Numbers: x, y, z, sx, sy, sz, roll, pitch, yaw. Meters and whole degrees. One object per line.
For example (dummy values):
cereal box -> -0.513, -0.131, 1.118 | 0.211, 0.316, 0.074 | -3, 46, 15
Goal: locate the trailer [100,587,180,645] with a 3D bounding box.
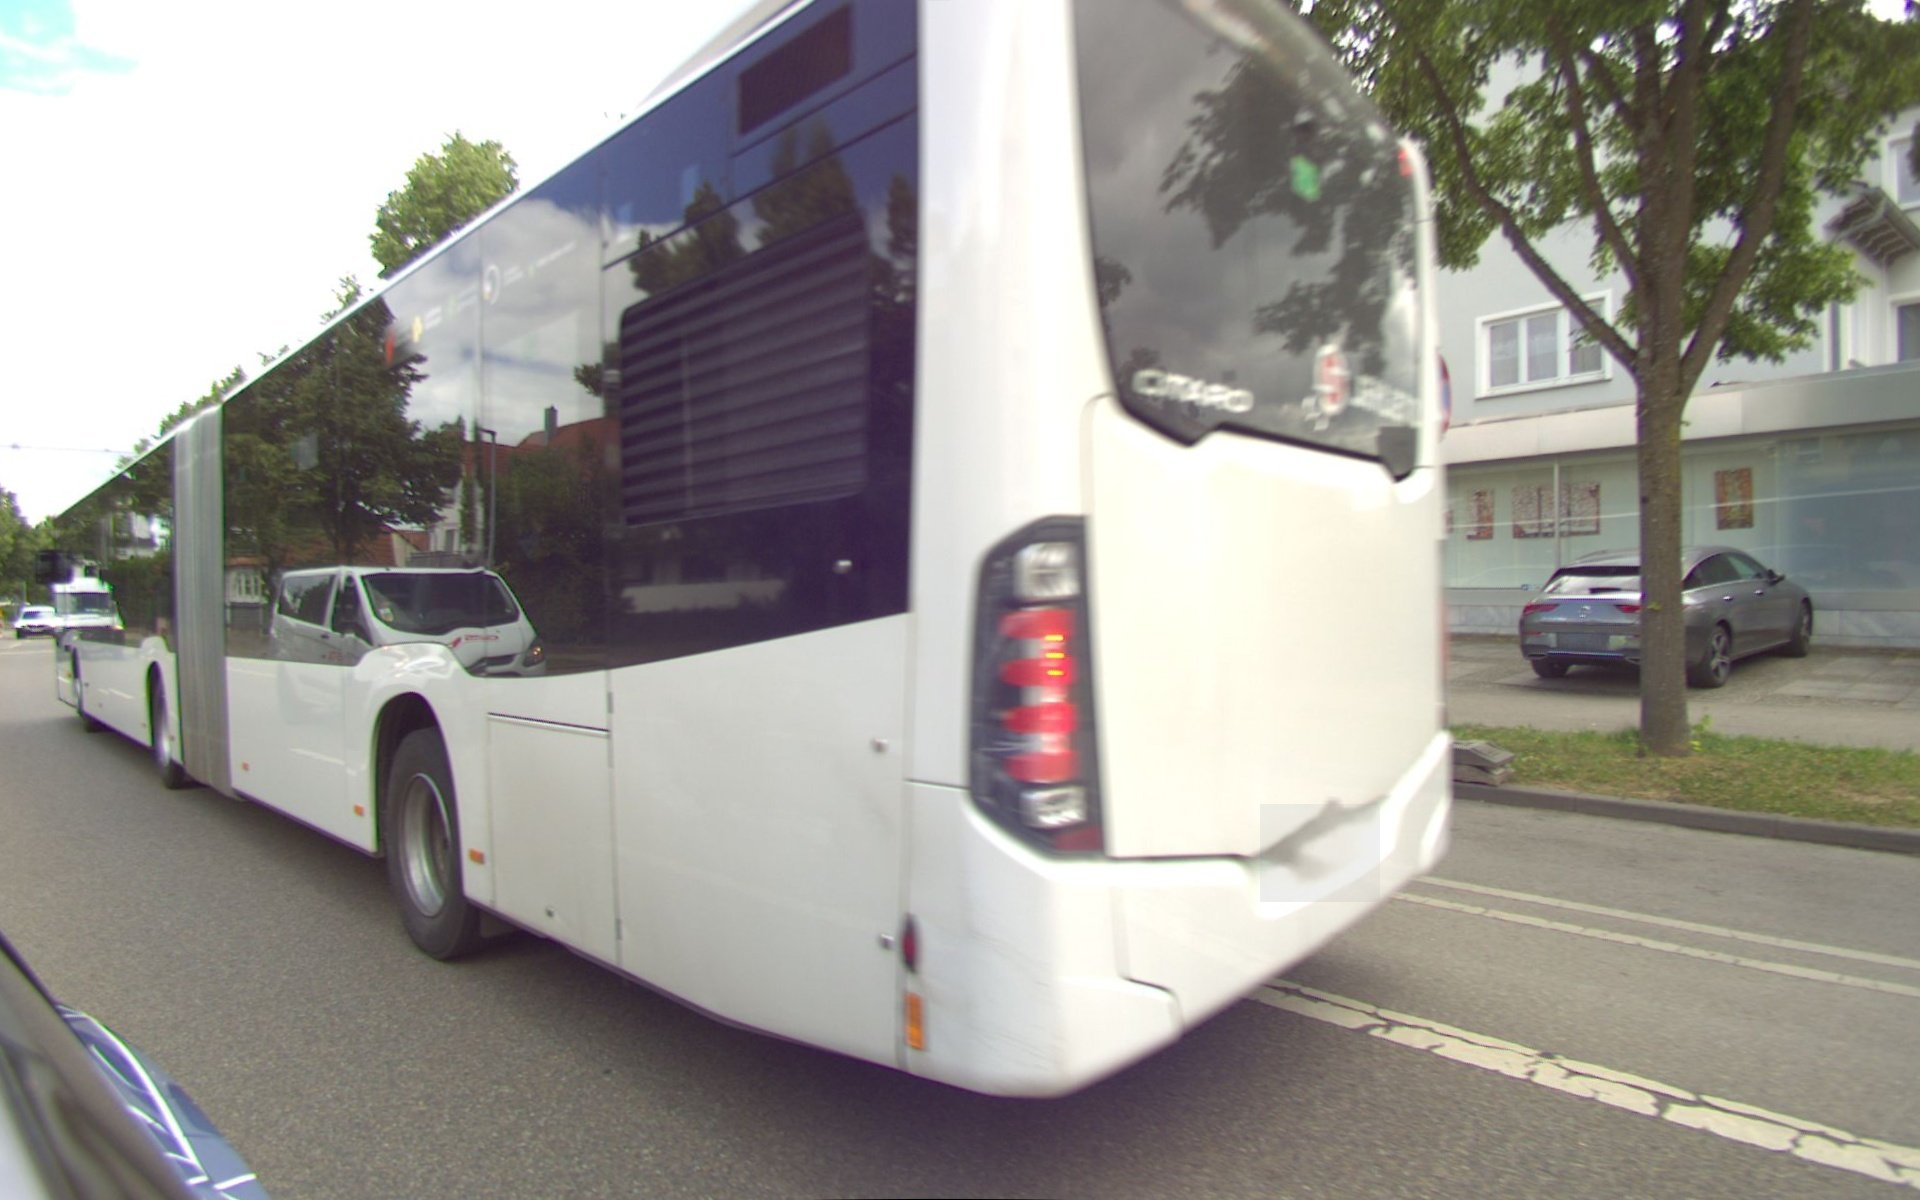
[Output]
trailer -> -44.891, 0.774, 55.574 | 2.599, 2.900, 6.890 | -2, 1, -33

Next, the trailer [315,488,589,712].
trailer -> -8.744, 0.023, 16.918 | 2.343, 2.985, 7.019 | -1, 0, -41

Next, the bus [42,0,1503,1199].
bus -> -5.438, -0.050, 9.029 | 18.049, 3.313, 2.774 | 0, 1, 44

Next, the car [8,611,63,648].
car -> -53.136, 1.672, 58.248 | 1.968, 2.029, 4.009 | -1, 0, -37
